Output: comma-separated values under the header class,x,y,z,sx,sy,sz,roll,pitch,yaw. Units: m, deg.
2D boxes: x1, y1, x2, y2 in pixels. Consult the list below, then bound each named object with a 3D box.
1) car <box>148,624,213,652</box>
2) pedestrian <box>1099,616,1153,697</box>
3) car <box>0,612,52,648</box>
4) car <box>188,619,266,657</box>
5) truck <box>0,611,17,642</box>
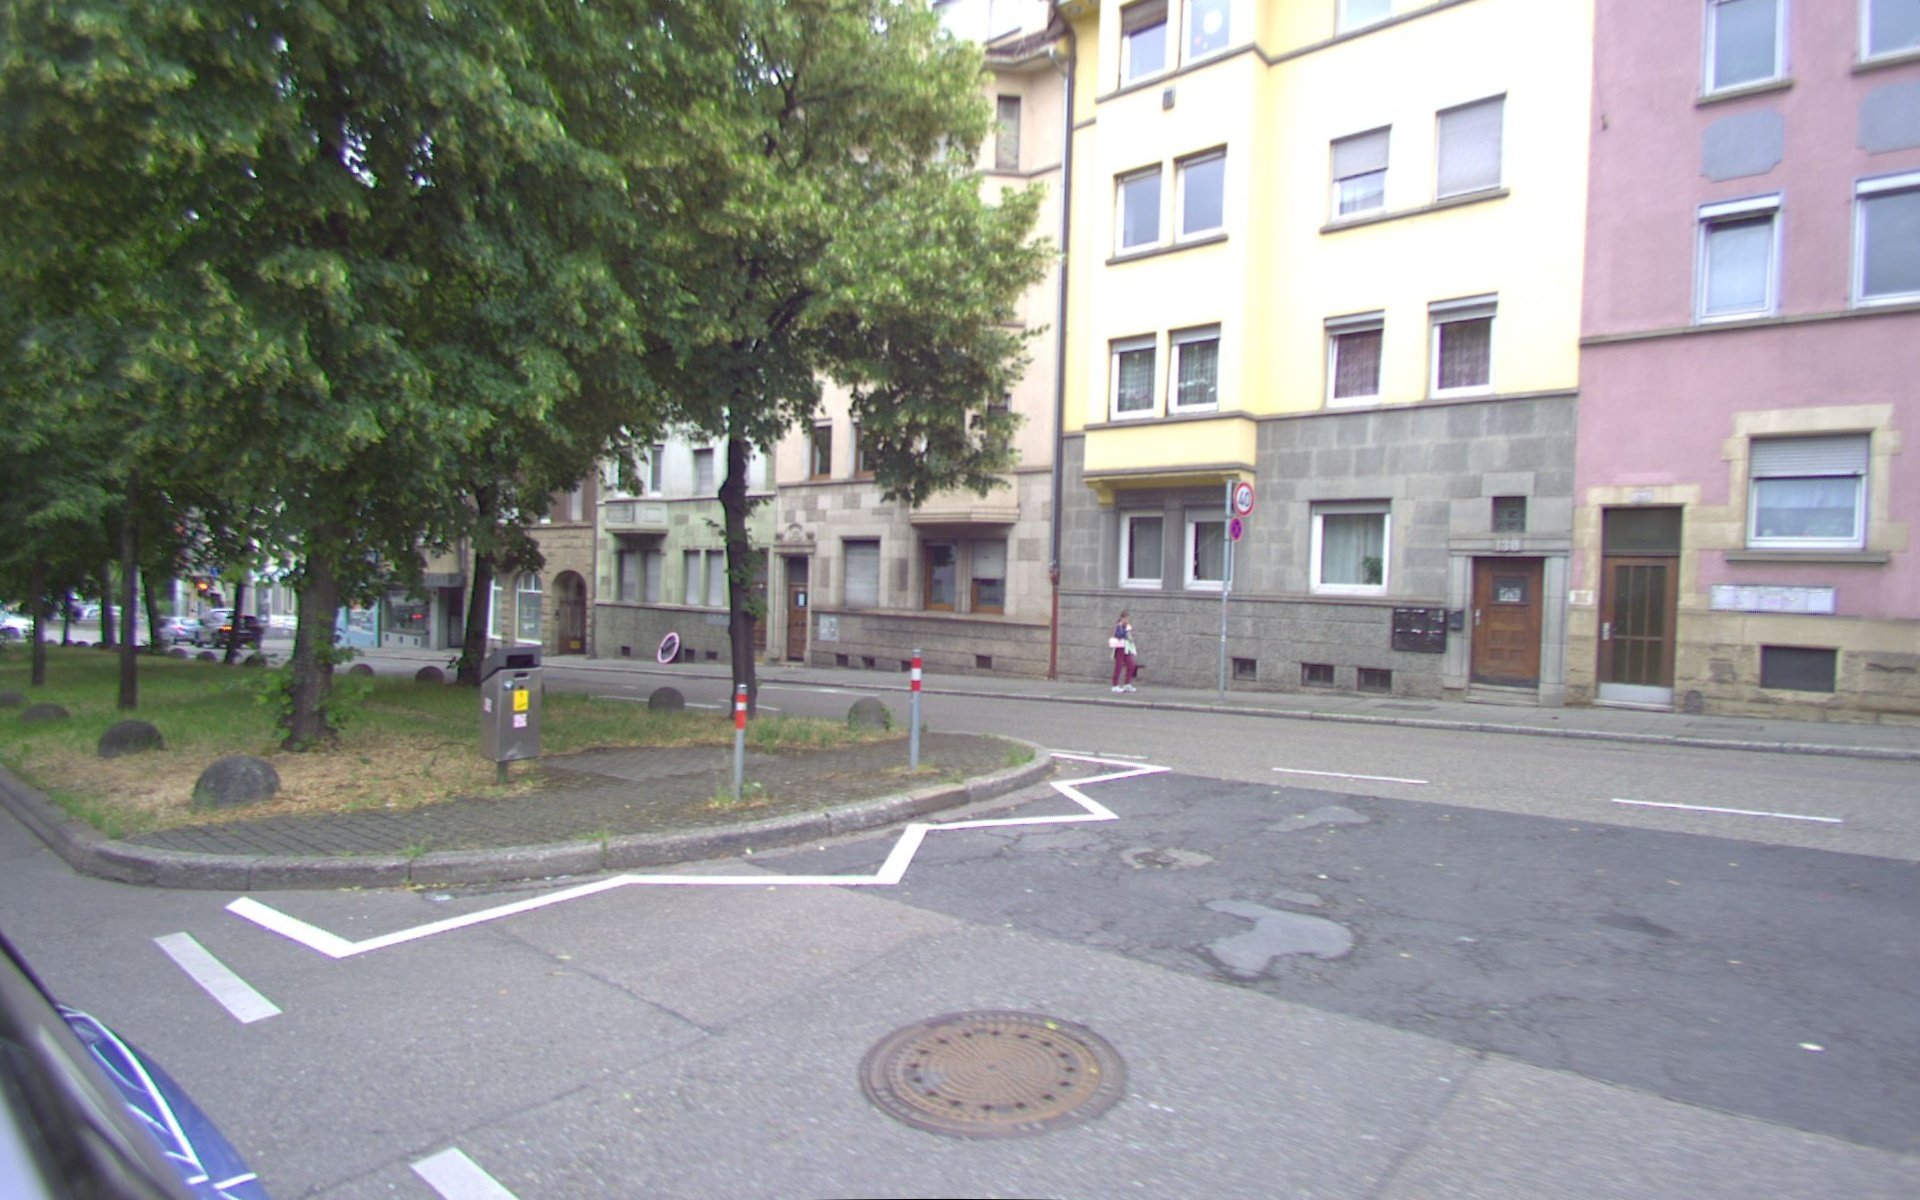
class,x,y,z,sx,sy,sz,roll,pitch,yaw
car,-40.835,1.974,53.002,4.288,1.417,1.653,-2,-2,38
pedestrian,3.115,1.046,18.997,0.703,1.471,0.691,-2,-1,41
car,-56.711,1.788,59.749,4.197,2.029,2.006,0,1,-16
car,-34.944,1.784,48.198,4.674,1.649,1.798,0,-2,39
truck,-87.298,2.366,88.841,2.738,2.744,6.444,-1,-1,6
